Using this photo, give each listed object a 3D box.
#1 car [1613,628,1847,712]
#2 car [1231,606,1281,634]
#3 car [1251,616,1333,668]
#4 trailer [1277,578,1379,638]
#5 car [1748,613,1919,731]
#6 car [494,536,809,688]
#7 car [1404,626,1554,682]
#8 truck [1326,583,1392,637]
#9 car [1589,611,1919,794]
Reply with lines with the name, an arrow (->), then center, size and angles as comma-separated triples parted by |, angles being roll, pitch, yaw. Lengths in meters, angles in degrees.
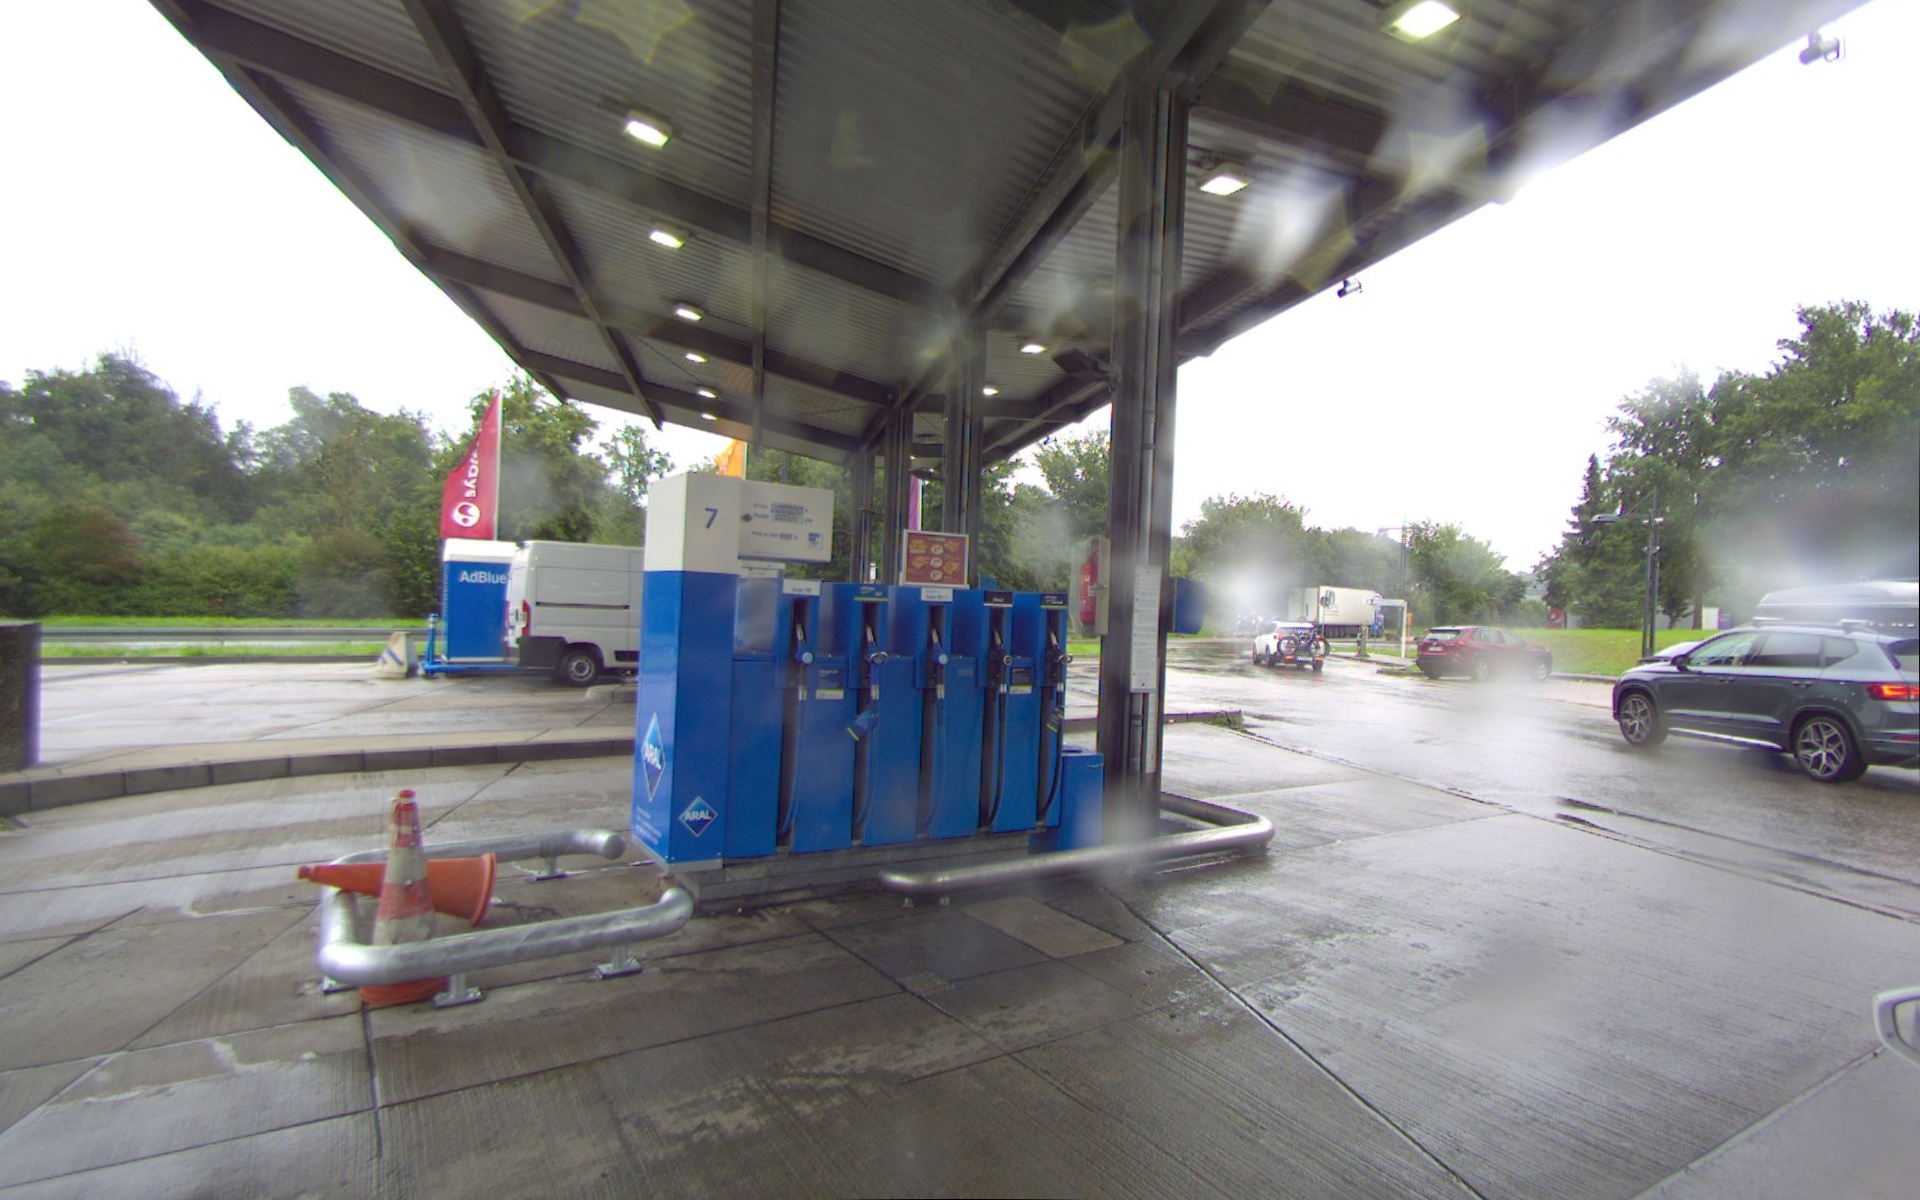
car -> 15.947, 1.413, 20.835 | 4.119, 1.585, 1.883 | 1, -1, -19
car -> 20.919, 1.397, 70.843 | 1.903, 1.862, 4.373 | 1, 0, 38
car -> 11.351, 1.383, 34.639 | 1.783, 1.586, 5.007 | 1, 0, 8
trailer -> 30.920, 0.741, 83.867 | 3.416, 4.618, 13.847 | 2, 0, 40
car -> 16.160, 1.185, 17.415 | 4.344, 1.852, 1.883 | 1, -1, -19
car -> -5.732, 0.261, 18.918 | 5.227, 2.496, 2.306 | 1, -1, -34
car -> 16.010, 1.640, 30.981 | 4.294, 1.617, 1.879 | 1, -1, -24
truck -> 35.593, 0.911, 89.471 | 3.416, 4.618, 6.704 | 2, 0, 40
car -> 9.444, 0.969, 11.307 | 1.854, 1.608, 4.324 | 1, 0, -3
